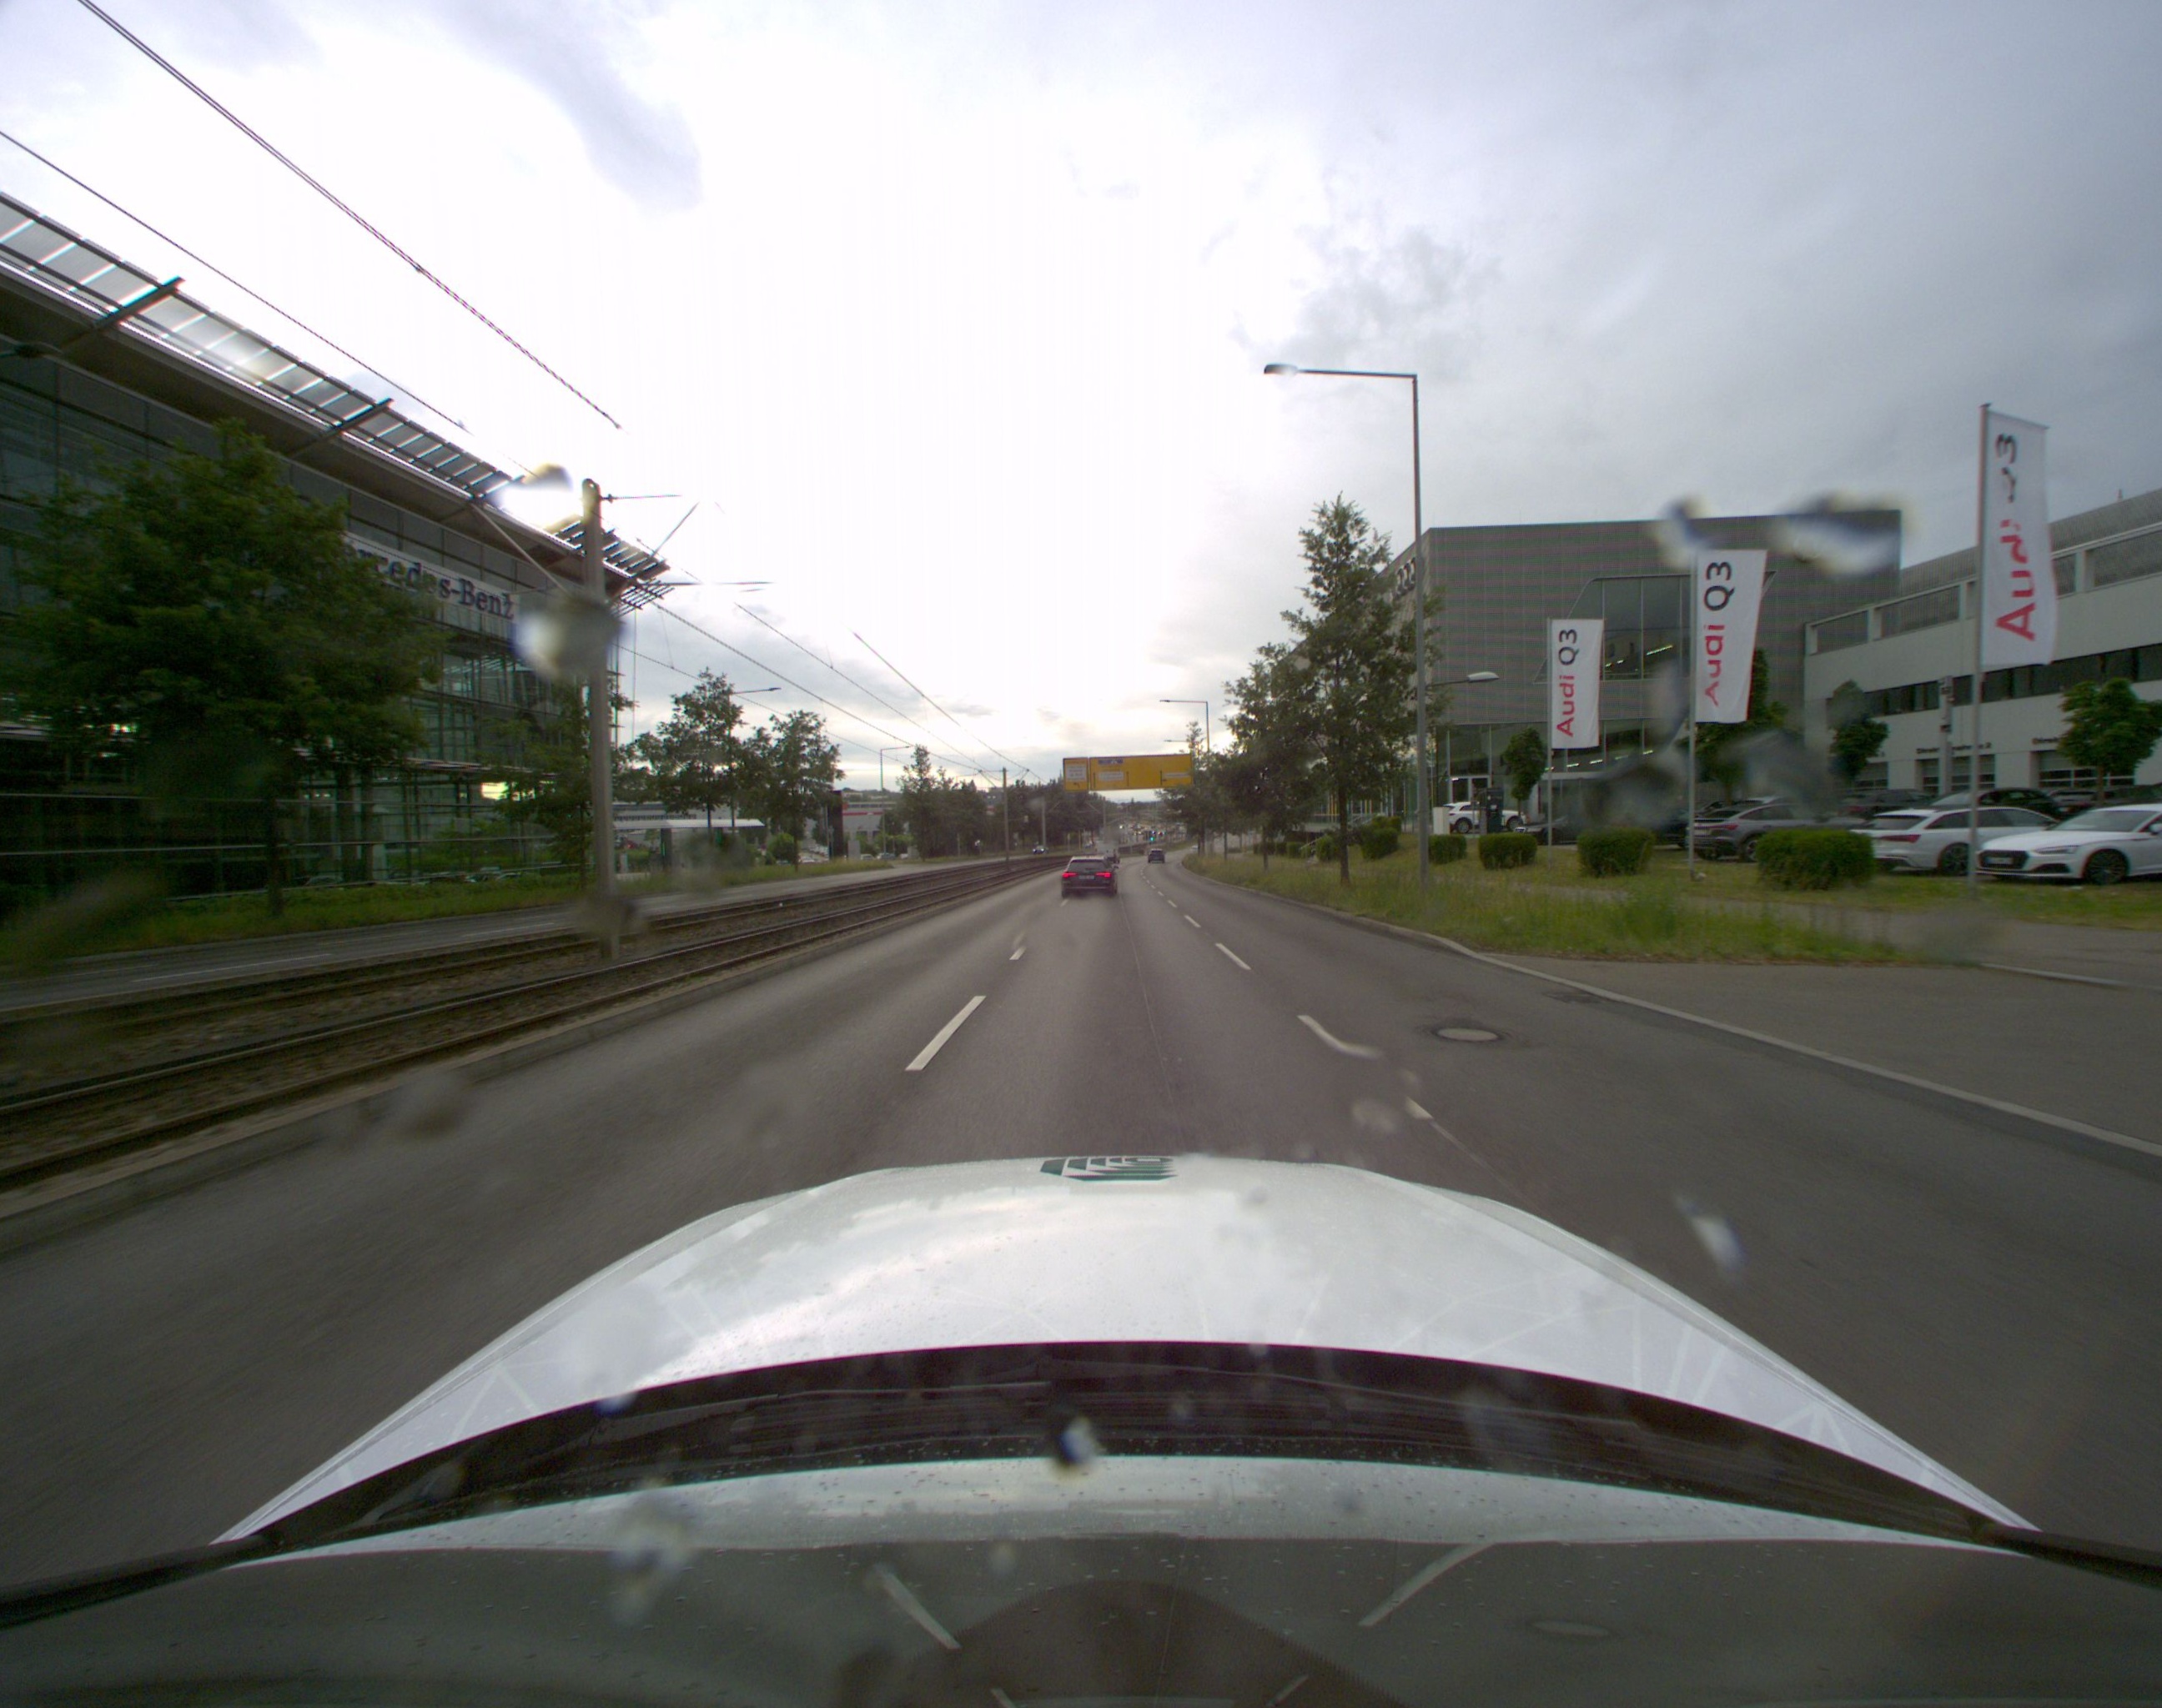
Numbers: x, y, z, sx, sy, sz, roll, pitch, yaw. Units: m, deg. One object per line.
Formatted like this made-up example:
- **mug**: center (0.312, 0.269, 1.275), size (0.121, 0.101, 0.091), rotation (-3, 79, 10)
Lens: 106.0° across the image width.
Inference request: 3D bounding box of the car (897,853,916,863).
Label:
- **car**: center (-26.590, 0.672, 123.905), size (2.002, 1.510, 3.969), rotation (1, -1, -23)

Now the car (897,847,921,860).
- **car**: center (-22.932, -0.096, 108.764), size (1.983, 1.650, 4.008), rotation (0, -1, 7)

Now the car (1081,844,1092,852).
- **car**: center (1.258, -1.335, 180.905), size (1.981, 1.679, 4.011), rotation (0, 1, 9)

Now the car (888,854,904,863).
- **car**: center (-30.764, 0.778, 135.234), size (2.002, 1.510, 3.969), rotation (1, -1, -23)

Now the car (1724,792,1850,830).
- **car**: center (30.923, -1.880, 35.737), size (4.091, 1.574, 1.693), rotation (-1, 1, 0)

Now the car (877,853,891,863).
- **car**: center (-29.725, 0.598, 122.682), size (1.757, 1.494, 3.974), rotation (1, -1, -19)

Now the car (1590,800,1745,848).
- **car**: center (20.015, -1.004, 27.901), size (4.091, 1.574, 1.693), rotation (-1, 1, 0)

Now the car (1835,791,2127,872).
- **car**: center (19.681, -0.469, 17.951), size (4.504, 1.594, 1.692), rotation (-1, -1, 0)

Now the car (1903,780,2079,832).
- **car**: center (30.719, -1.605, 27.573), size (4.091, 1.574, 1.693), rotation (-2, 1, 0)

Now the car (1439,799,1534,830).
- **car**: center (21.568, -2.096, 43.410), size (4.244, 1.574, 1.693), rotation (-1, 1, 0)

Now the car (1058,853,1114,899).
- **car**: center (0.270, 0.719, 28.863), size (1.757, 1.463, 4.630), rotation (-1, 0, 3)

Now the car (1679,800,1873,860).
- **car**: center (19.637, -0.669, 23.141), size (4.091, 1.608, 1.693), rotation (-1, 1, 1)

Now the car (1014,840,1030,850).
- **car**: center (-12.194, -1.899, 169.196), size (1.978, 2.013, 4.018), rotation (0, 0, 17)

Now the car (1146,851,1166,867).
- **car**: center (7.965, 0.570, 86.199), size (2.010, 1.623, 4.008), rotation (0, -1, 8)

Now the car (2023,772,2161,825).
- **car**: center (35.536, -1.921, 28.103), size (4.091, 1.573, 1.693), rotation (-3, 3, 0)

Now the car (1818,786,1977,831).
- **car**: center (30.283, -1.662, 30.286), size (4.091, 1.574, 1.826), rotation (-1, 1, 0)

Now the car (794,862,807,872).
- **car**: center (-40.573, 1.868, 117.694), size (1.757, 1.494, 3.974), rotation (1, -1, -19)

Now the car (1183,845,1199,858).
- **car**: center (15.679, -0.366, 116.139), size (2.008, 1.769, 4.014), rotation (0, 3, 12)

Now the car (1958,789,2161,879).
- **car**: center (19.628, -0.348, 15.325), size (4.081, 1.594, 1.697), rotation (-1, -1, 9)

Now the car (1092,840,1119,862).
- **car**: center (2.535, -0.237, 82.909), size (2.499, 2.177, 5.156), rotation (0, -1, 5)

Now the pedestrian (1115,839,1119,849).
- **pedestrian**: center (7.096, -1.976, 159.705), size (0.632, 1.854, 0.753), rotation (0, -1, 14)

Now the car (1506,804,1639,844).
- **car**: center (19.973, -1.204, 33.216), size (4.405, 1.574, 1.693), rotation (-1, 1, 0)

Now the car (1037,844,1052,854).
- **car**: center (-5.789, -0.837, 129.850), size (1.874, 1.520, 4.409), rotation (-4, 1, 5)
